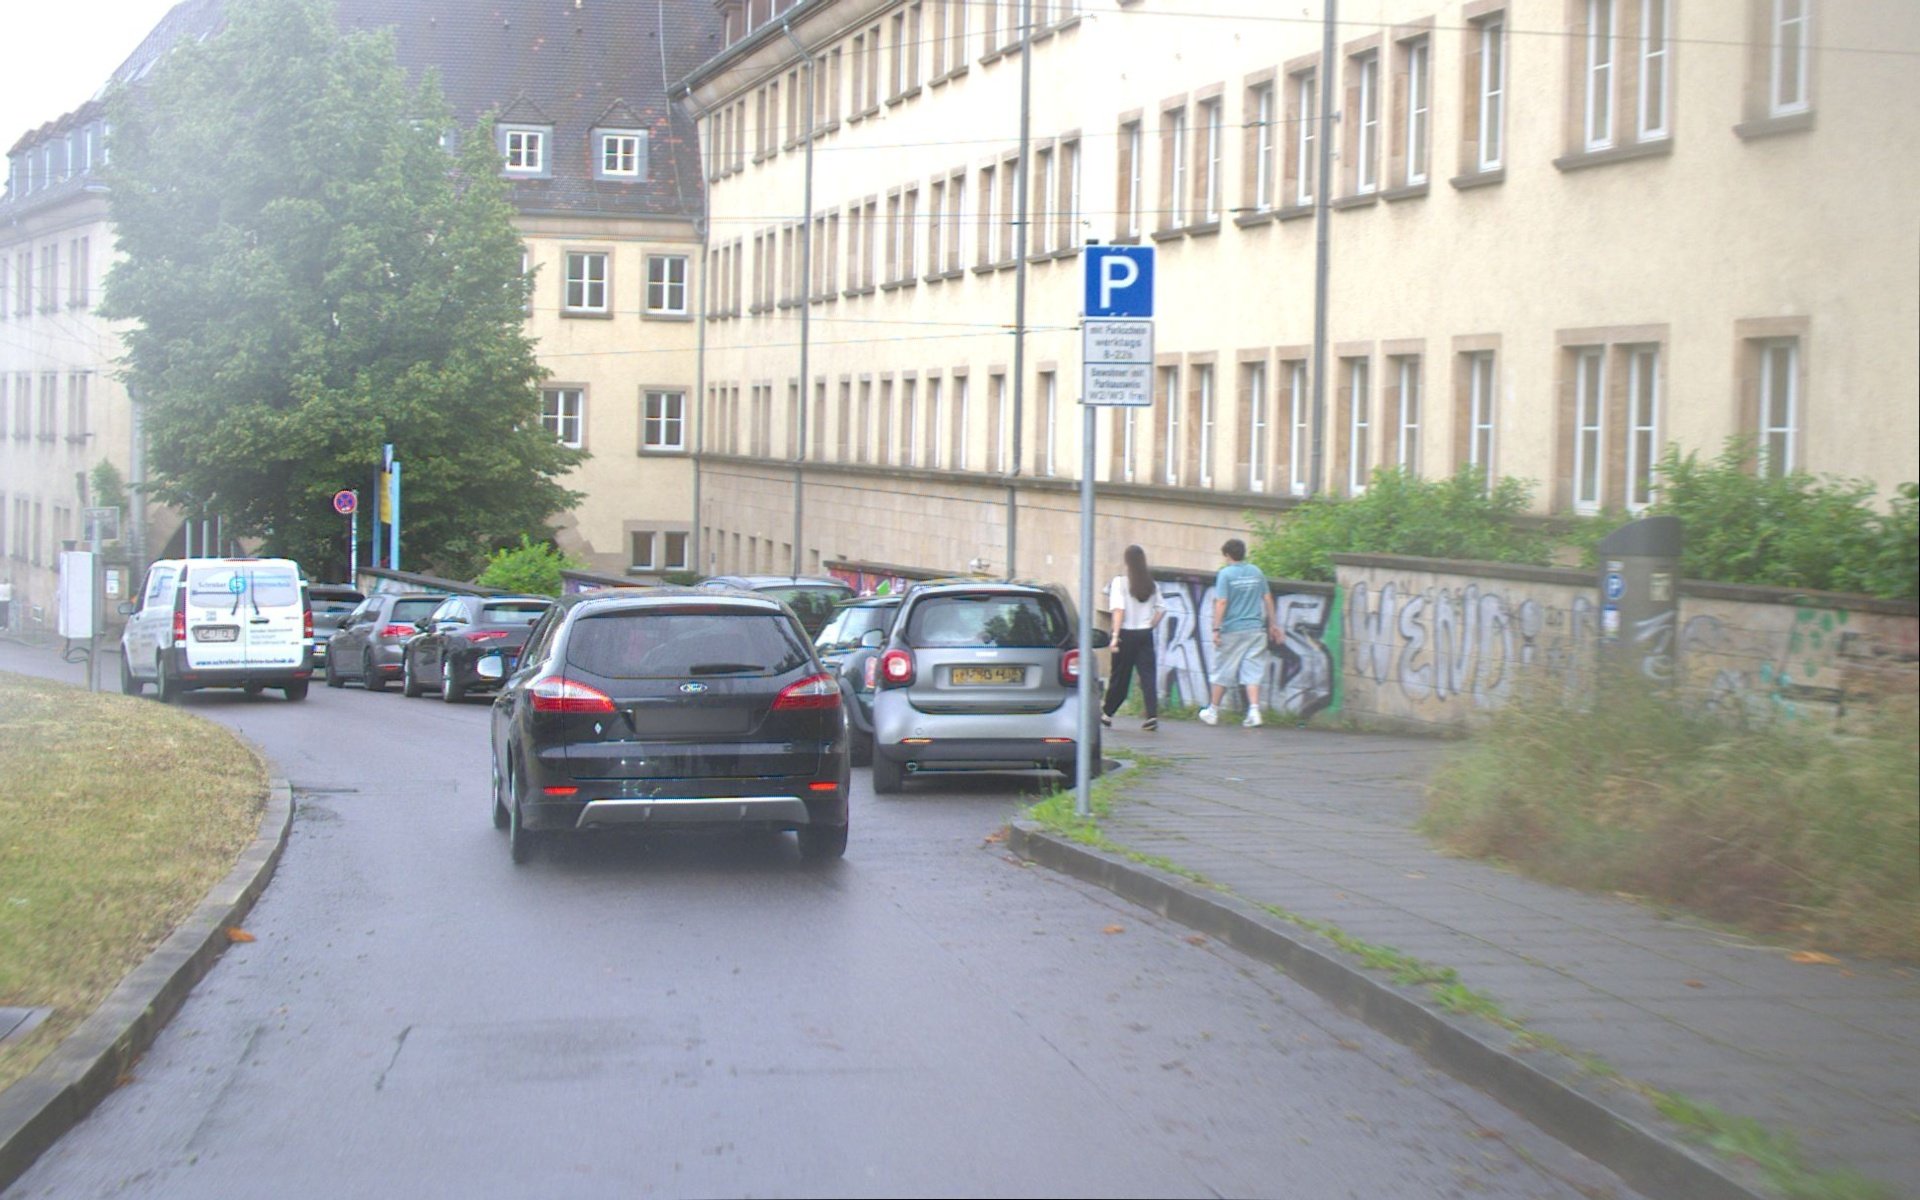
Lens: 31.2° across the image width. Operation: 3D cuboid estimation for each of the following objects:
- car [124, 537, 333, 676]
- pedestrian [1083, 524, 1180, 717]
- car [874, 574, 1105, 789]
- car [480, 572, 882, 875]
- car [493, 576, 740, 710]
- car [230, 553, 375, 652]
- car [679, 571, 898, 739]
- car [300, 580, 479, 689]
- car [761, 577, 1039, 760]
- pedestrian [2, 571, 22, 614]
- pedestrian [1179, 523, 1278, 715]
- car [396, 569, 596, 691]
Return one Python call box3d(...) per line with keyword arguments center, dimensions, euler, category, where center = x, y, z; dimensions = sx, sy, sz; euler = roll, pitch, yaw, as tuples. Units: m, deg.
box3d(center=(-9.781, 0.044, 45.717), dimensions=(2.136, 1.739, 4.219), euler=(-1, 1, -20), category="car")
box3d(center=(1.575, 0.185, 31.702), dimensions=(0.717, 1.748, 0.739), euler=(-1, 1, -11), category="pedestrian")
box3d(center=(0.213, 0.562, 25.417), dimensions=(1.598, 1.460, 2.721), euler=(-1, 1, 0), category="car")
box3d(center=(-1.690, 0.609, 19.520), dimensions=(1.919, 1.474, 4.001), euler=(0, 1, -10), category="car")
box3d(center=(-4.077, 0.476, 40.217), dimensions=(1.665, 1.471, 4.067), euler=(1, 0, -24), category="car")
box3d(center=(-10.727, 0.021, 55.893), dimensions=(1.665, 1.519, 4.110), euler=(-1, 1, -20), category="car")
box3d(center=(-1.796, 0.505, 34.863), dimensions=(1.665, 1.567, 3.857), euler=(-1, 1, -11), category="car")
box3d(center=(-8.403, 0.471, 50.402), dimensions=(1.665, 1.471, 4.110), euler=(-1, 1, -23), category="car")
box3d(center=(-0.573, 0.532, 29.354), dimensions=(1.535, 1.411, 3.645), euler=(-1, 1, -15), category="car")
box3d(center=(-28.968, -0.227, 105.065), dimensions=(0.504, 1.311, 0.511), euler=(0, 1, -23), category="pedestrian")
box3d(center=(2.486, 0.168, 31.892), dimensions=(0.717, 1.748, 0.739), euler=(-1, 1, -11), category="pedestrian")
box3d(center=(-6.111, 0.347, 44.908), dimensions=(1.665, 1.471, 4.458), euler=(-1, 1, -20), category="car")
